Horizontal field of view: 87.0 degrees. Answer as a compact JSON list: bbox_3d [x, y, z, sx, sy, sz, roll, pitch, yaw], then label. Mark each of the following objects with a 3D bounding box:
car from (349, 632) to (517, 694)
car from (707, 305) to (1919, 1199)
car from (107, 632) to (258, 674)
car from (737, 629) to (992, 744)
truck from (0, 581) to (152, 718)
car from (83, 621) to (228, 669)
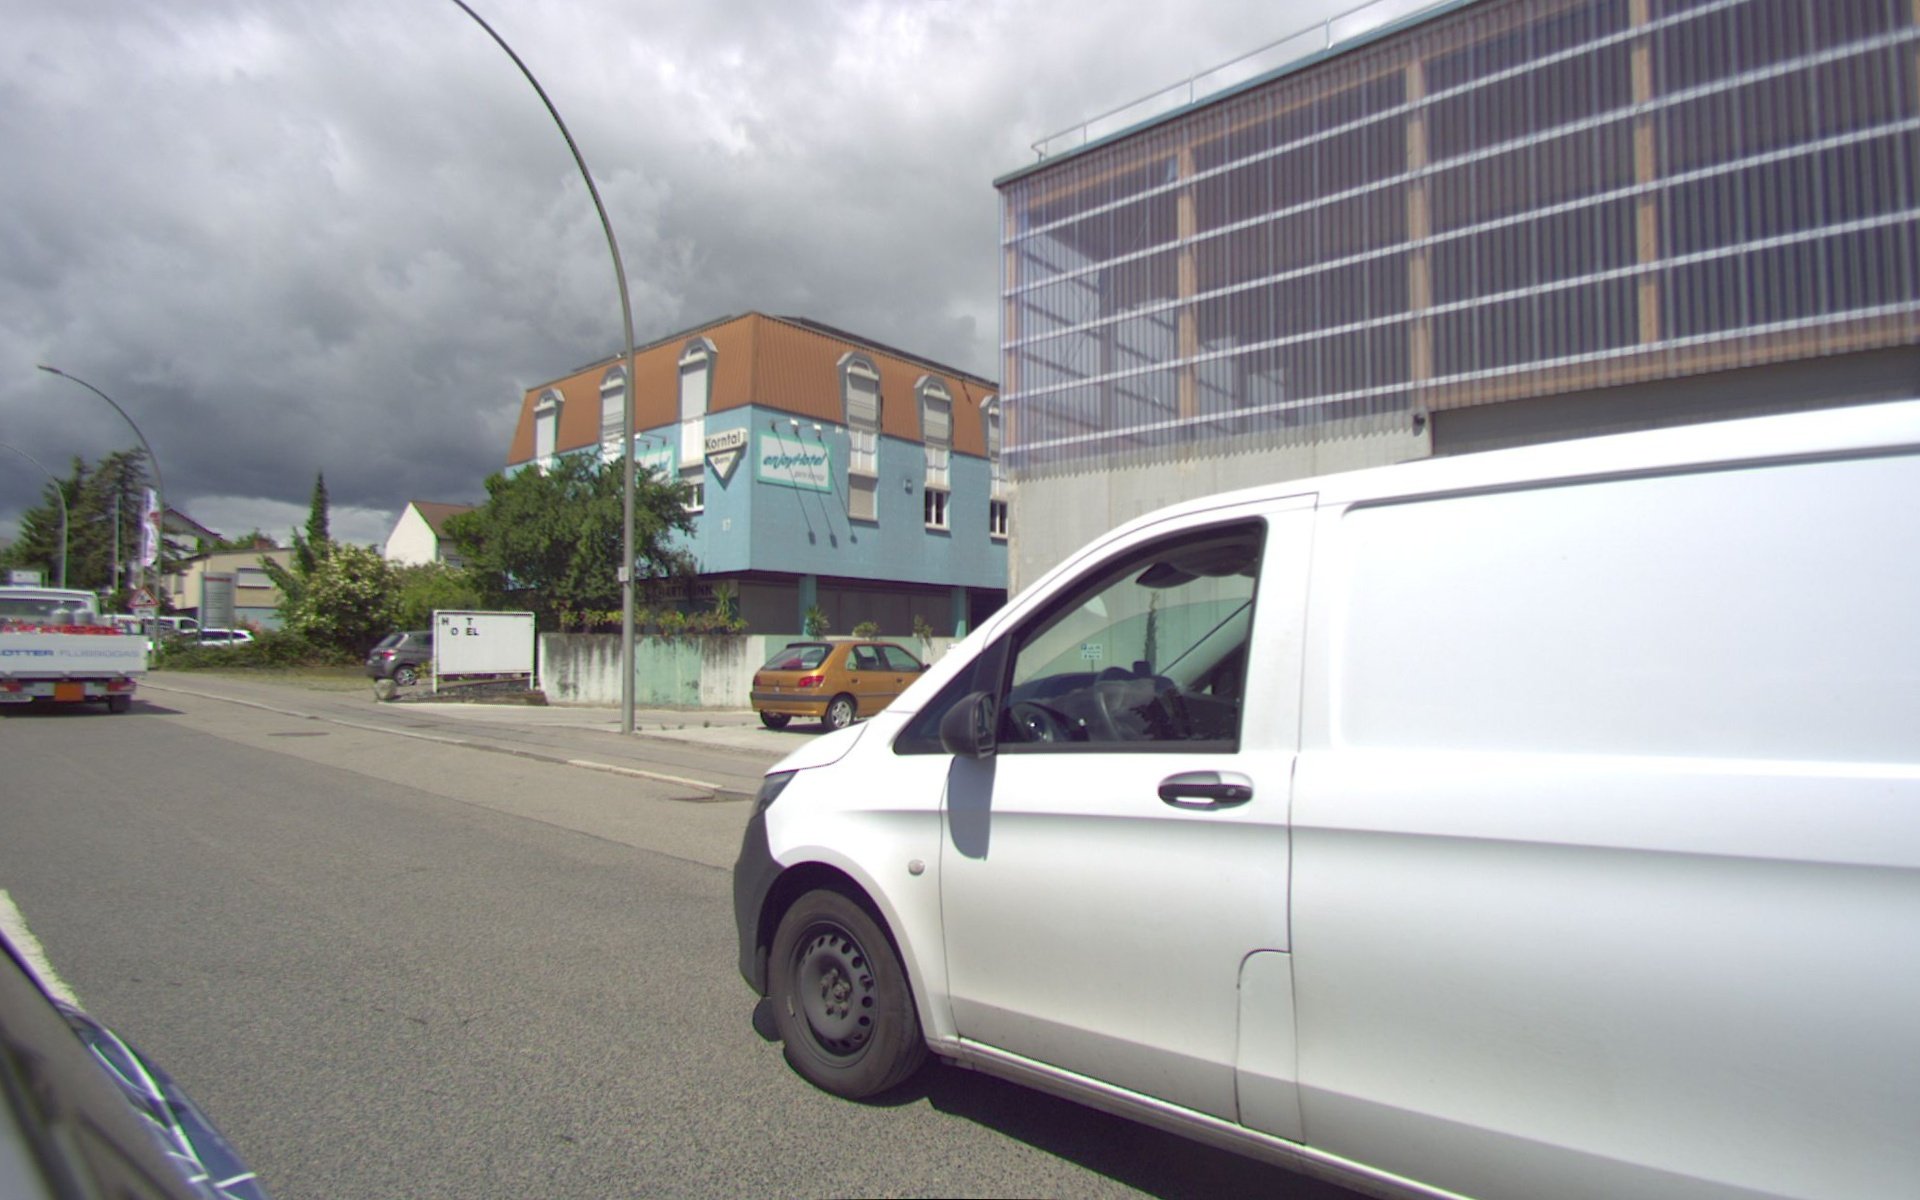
[{"bbox_3d":[-14.247,1.668,27.464,1.979,1.544,3.588,-2,-3,43],"label":"car"},{"bbox_3d":[1.754,0.569,2.438,5.113,1.903,1.973,-2,-4,40],"label":"car"},{"bbox_3d":[-29.919,2.017,39.038,1.871,1.489,4.329,0,-2,41],"label":"car"},{"bbox_3d":[-1.423,1.296,16.502,1.823,1.503,4.111,-2,-1,37],"label":"car"},{"bbox_3d":[-17.212,0.915,18.933,6.448,2.195,2.293,-2,-4,43],"label":"truck"},{"bbox_3d":[-35.263,1.998,44.466,2.112,1.987,4.607,-2,-3,37],"label":"car"}]
